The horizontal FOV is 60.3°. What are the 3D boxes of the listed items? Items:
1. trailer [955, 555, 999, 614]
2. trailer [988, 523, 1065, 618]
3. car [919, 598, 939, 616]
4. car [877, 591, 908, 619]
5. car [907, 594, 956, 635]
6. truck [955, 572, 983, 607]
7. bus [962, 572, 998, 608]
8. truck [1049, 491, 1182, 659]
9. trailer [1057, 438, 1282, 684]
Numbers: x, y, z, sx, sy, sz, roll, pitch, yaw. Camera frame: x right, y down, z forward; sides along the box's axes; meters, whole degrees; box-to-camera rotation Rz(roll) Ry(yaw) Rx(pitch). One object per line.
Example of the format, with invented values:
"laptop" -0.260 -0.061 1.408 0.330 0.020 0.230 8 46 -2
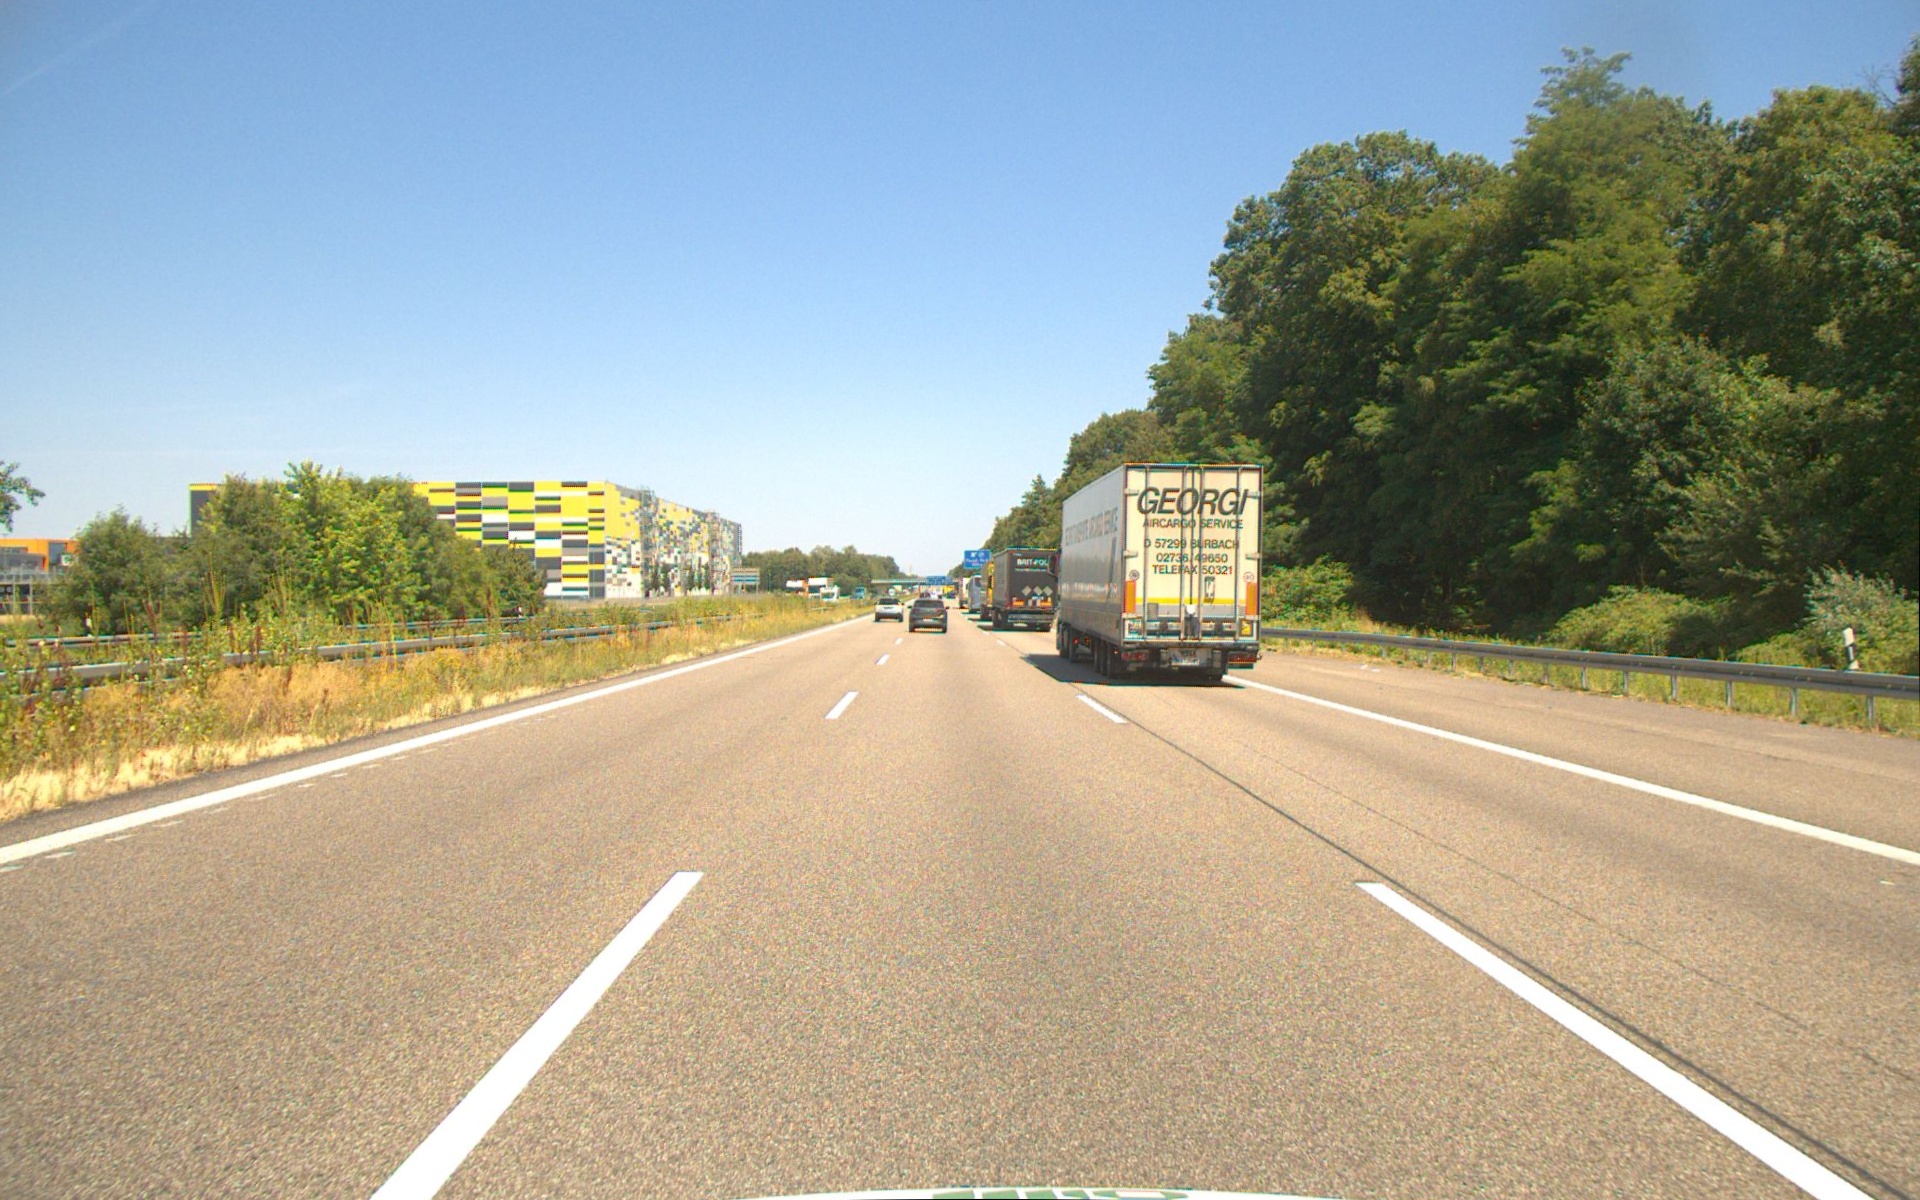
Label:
"trailer" 1.130 -1.074 118.244 2.777 4.023 11.681 0 0 -1
"trailer" 3.358 -1.429 87.972 3.043 4.585 14.891 1 0 -2
"car" -3.055 0.712 163.448 1.902 1.736 3.999 0 0 -1
"car" -4.277 0.311 105.199 1.953 1.758 4.129 0 0 -2
"car" -1.342 0.659 77.099 2.171 1.821 5.392 0 0 -1
"truck" 1.086 -1.334 210.507 3.353 4.198 9.563 -1 0 0
"bus" 1.904 -0.984 161.806 3.001 3.385 8.270 -1 0 -2
"truck" 4.041 -0.614 44.128 2.942 4.197 5.251 0 0 -1
"trailer" 4.166 -0.710 36.438 2.933 4.364 13.415 1 0 -1
